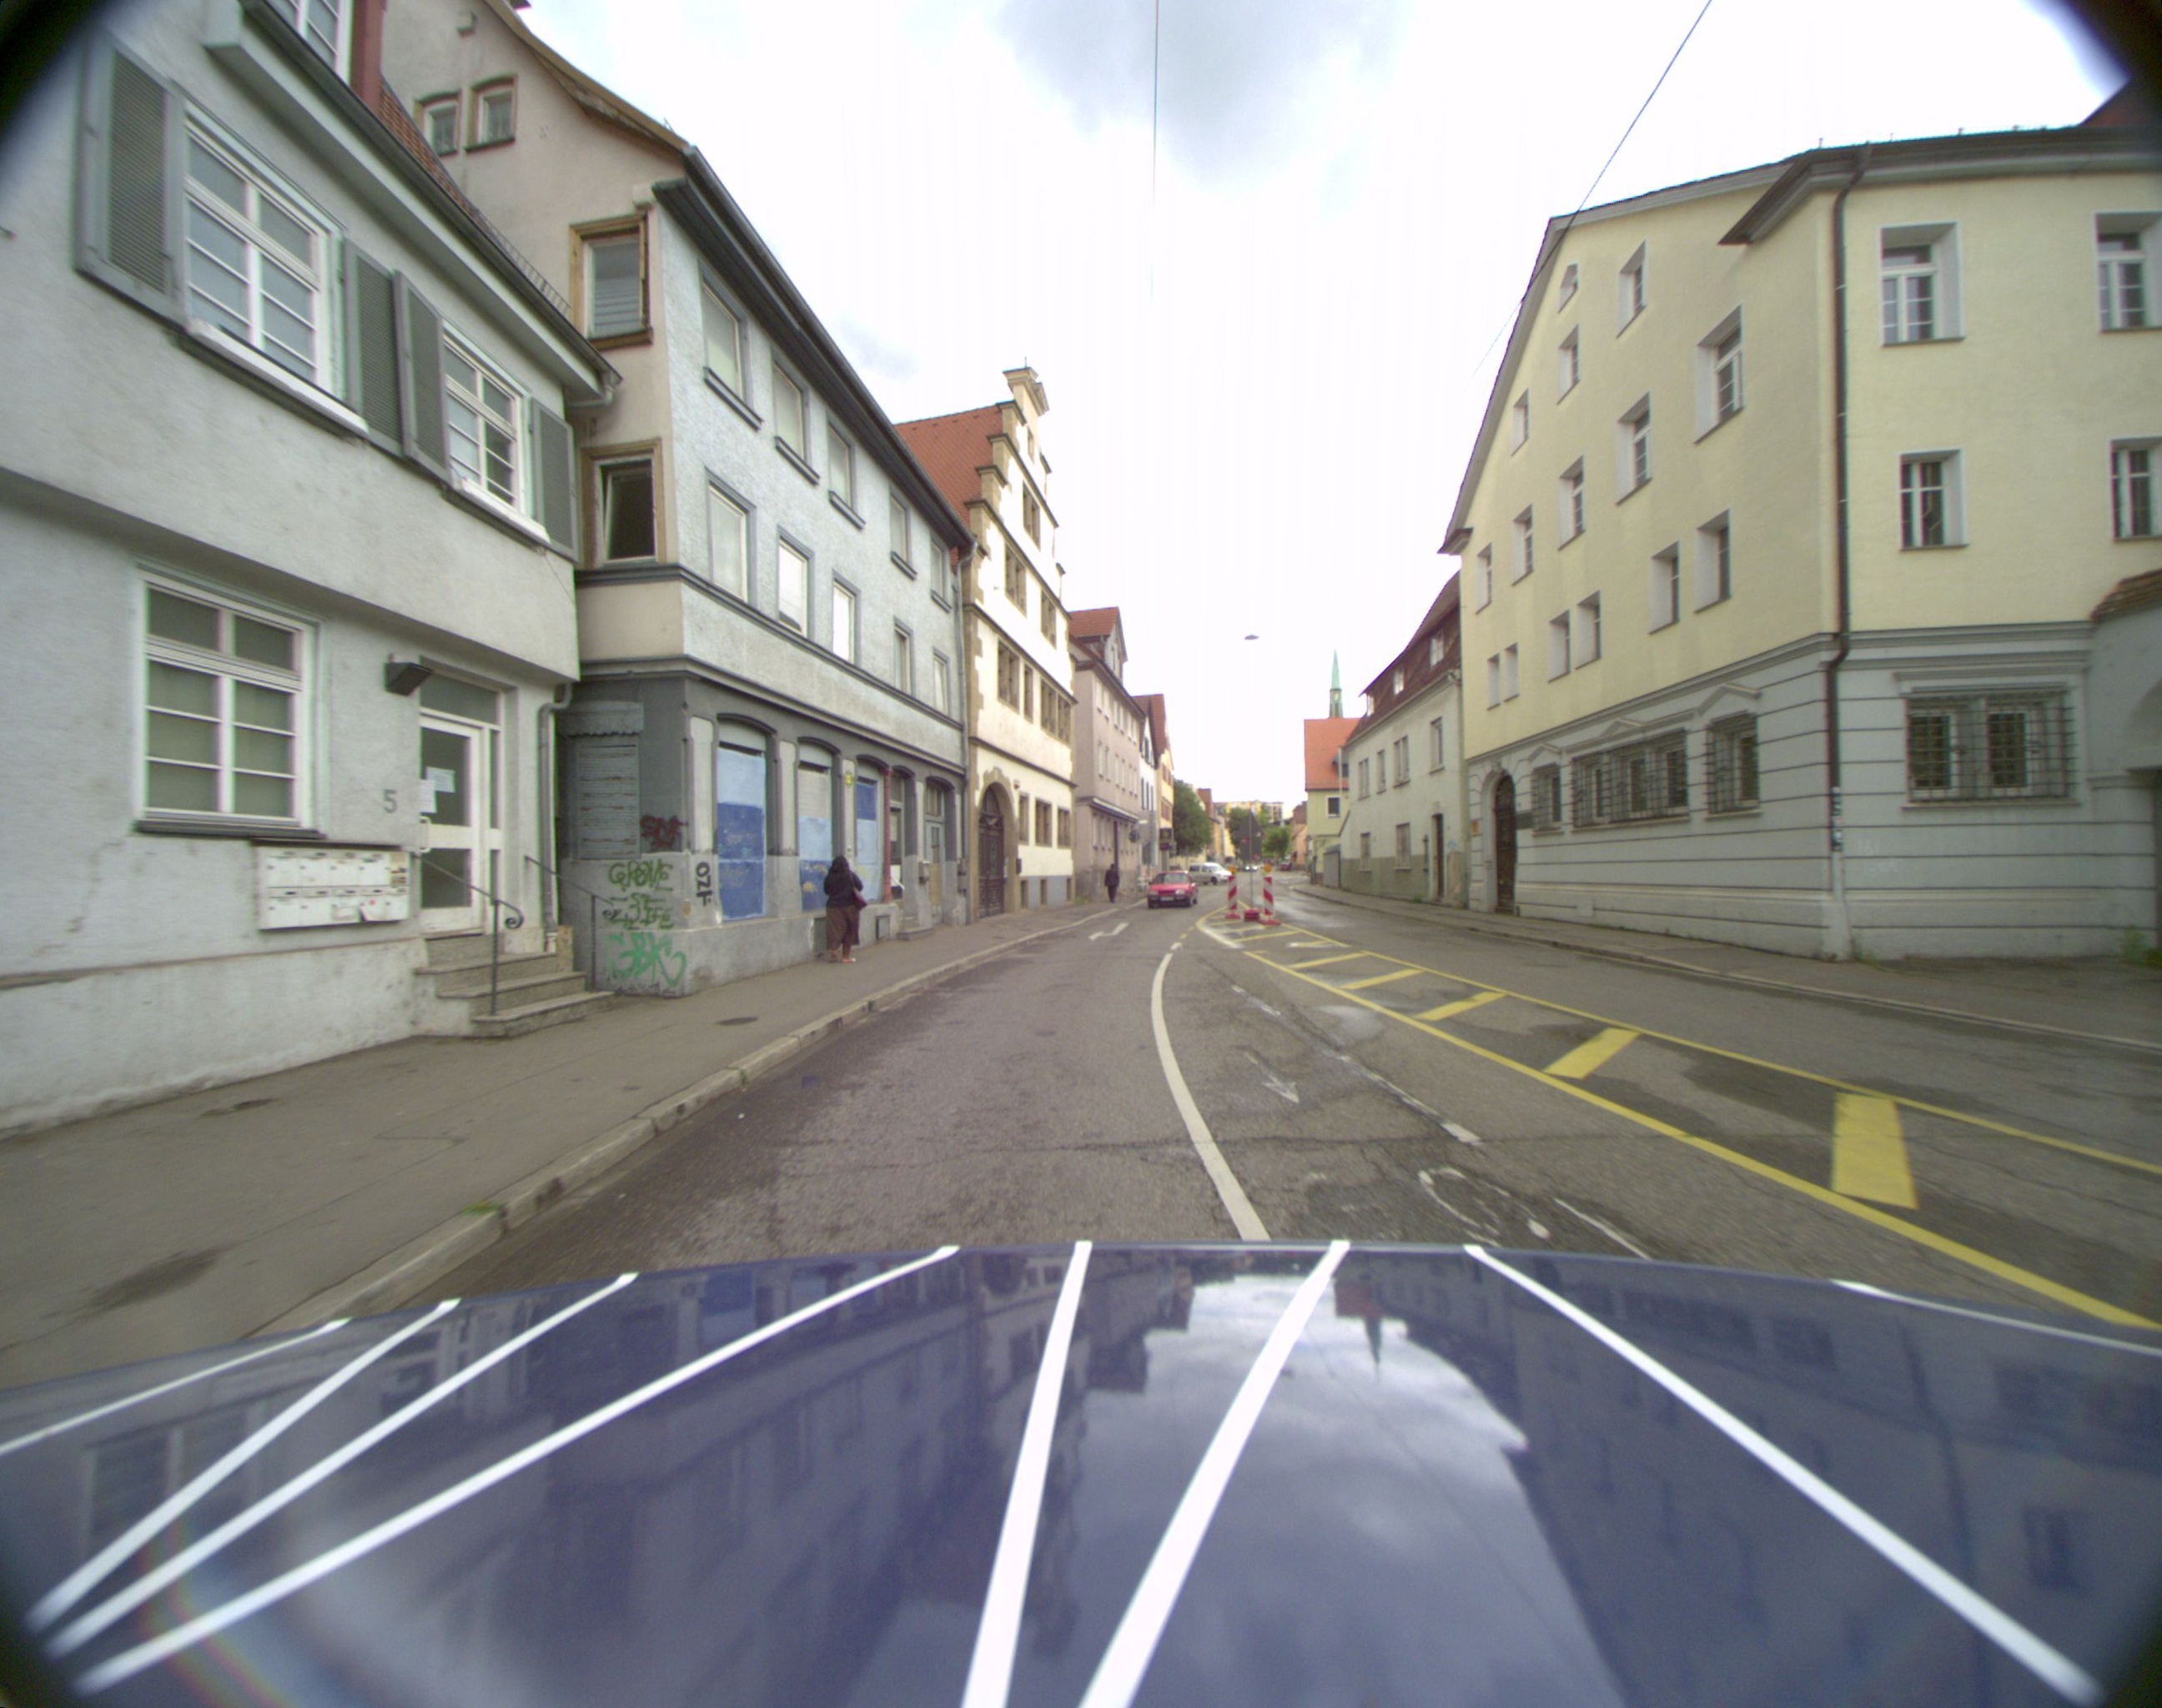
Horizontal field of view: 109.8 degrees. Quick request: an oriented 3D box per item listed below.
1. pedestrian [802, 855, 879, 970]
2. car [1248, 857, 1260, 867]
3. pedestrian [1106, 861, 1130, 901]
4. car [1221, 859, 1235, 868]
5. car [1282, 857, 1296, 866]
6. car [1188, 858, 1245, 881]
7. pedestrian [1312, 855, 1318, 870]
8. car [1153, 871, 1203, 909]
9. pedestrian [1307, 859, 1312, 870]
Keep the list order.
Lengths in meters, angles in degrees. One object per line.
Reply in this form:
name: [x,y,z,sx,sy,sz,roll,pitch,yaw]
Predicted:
pedestrian: [-3.641,0.867,11.563,0.756,1.657,0.810,2,0,10]
car: [30.960,1.389,135.548,1.996,1.668,4.004,-1,0,14]
pedestrian: [1.578,1.137,32.282,0.833,1.646,0.945,0,-1,14]
car: [24.963,1.560,128.958,2.031,1.546,4.004,0,0,13]
car: [38.961,1.309,142.504,2.210,1.668,4.503,0,0,13]
car: [10.930,1.203,61.725,2.004,1.777,4.455,-1,1,-34]
pedestrian: [34.721,1.262,112.909,0.757,2.108,0.784,0,-1,14]
car: [3.950,1.388,30.471,1.684,1.418,4.026,-1,-2,12]
pedestrian: [34.136,1.594,113.521,0.637,1.596,0.712,0,0,14]
